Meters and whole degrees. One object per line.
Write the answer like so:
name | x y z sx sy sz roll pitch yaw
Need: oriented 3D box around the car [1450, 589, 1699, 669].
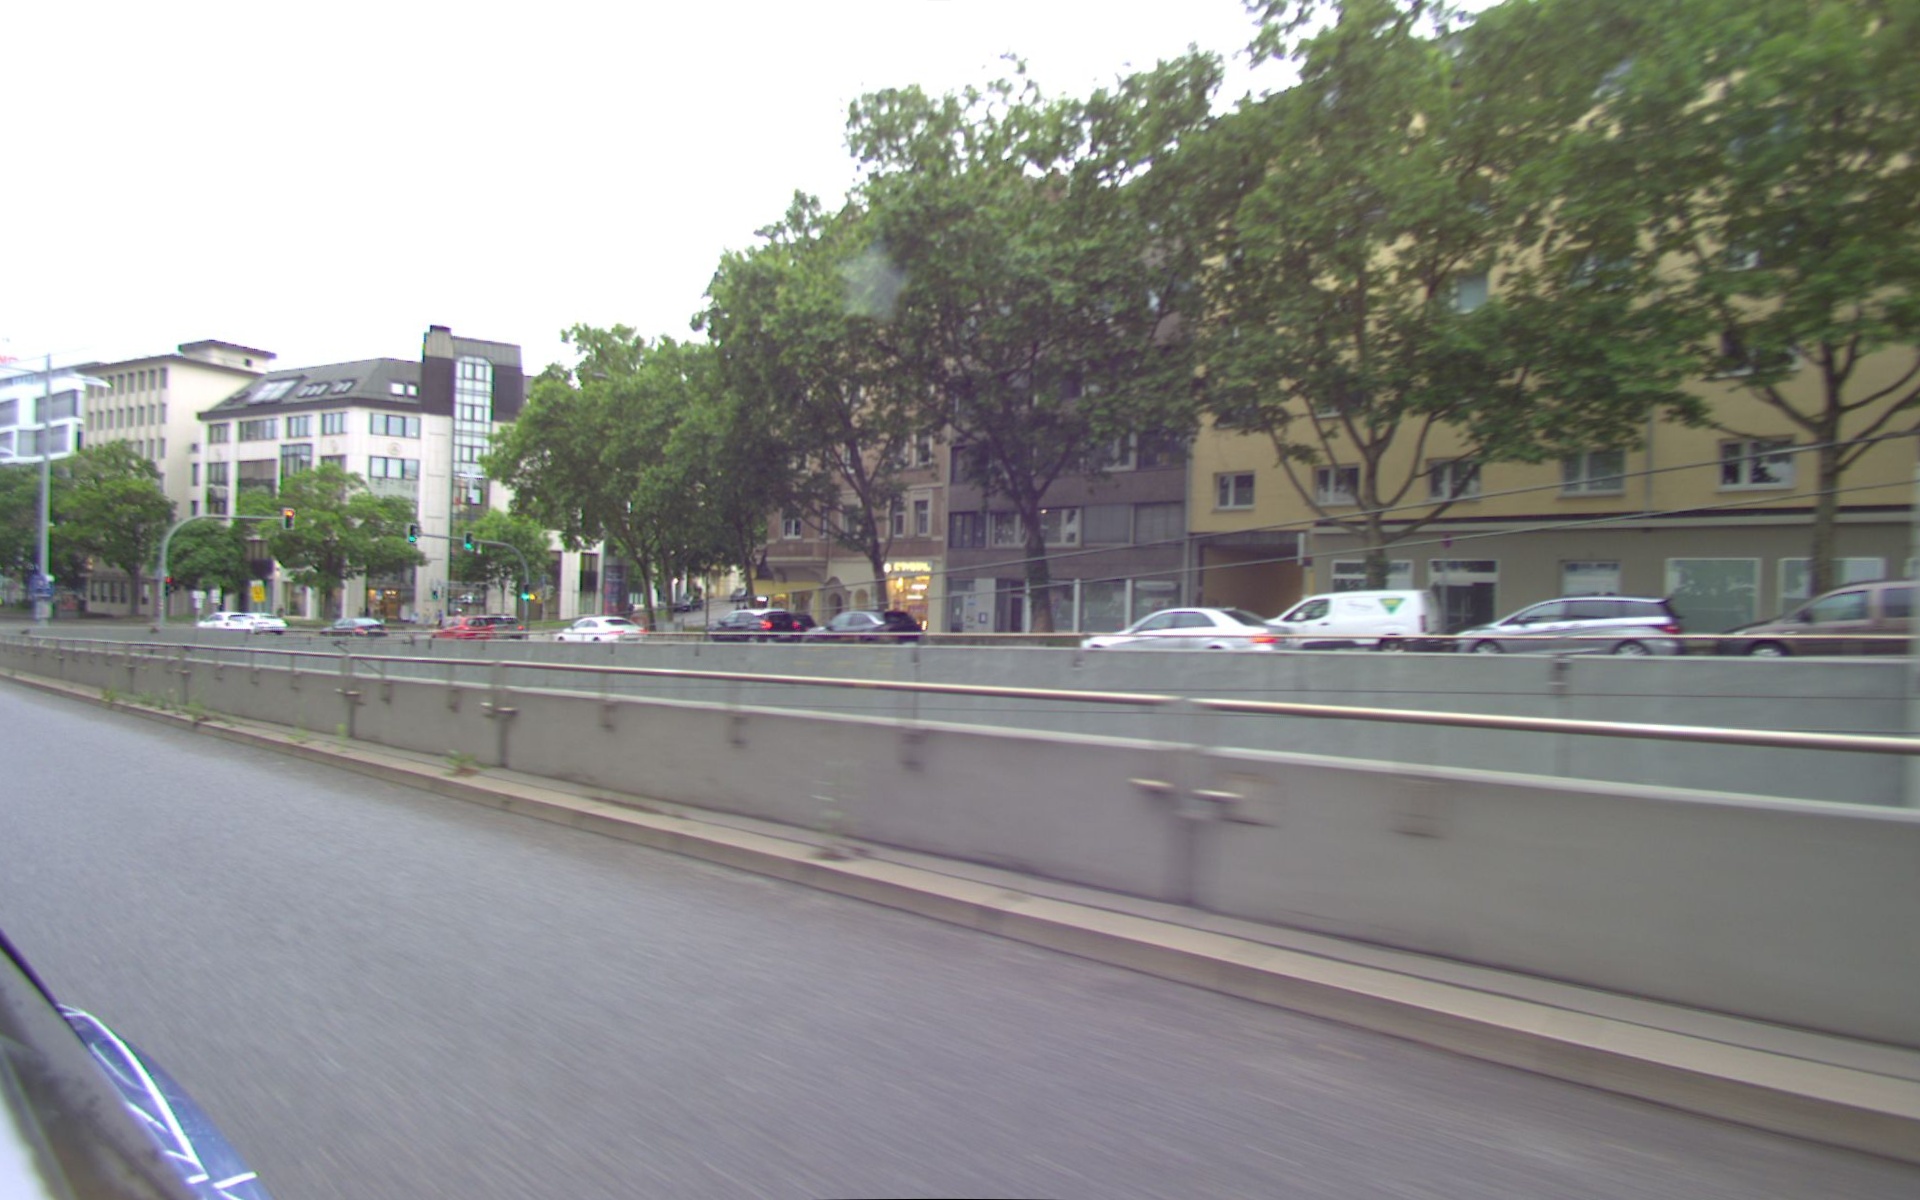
car | 13.542 0.631 22.449 4.470 1.595 1.858 -2 -1 41

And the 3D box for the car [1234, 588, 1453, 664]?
car | 9.754 0.658 25.956 4.894 1.778 1.859 -2 -1 38

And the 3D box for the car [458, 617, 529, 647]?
car | -26.013 1.766 56.361 3.931 1.521 1.780 0 0 33

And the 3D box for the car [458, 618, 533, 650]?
car | -23.239 1.668 50.572 3.995 1.522 1.777 0 -1 38

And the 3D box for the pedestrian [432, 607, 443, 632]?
pedestrian | -38.968 1.445 75.471 0.582 1.823 0.675 0 0 -44

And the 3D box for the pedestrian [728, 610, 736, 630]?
pedestrian | -20.697 1.800 91.922 0.623 1.823 0.675 0 0 -8

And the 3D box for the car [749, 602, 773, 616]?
car | -22.217 0.959 113.053 1.592 1.473 3.483 0 0 8

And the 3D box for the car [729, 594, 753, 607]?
car | -26.725 0.001 123.499 1.777 1.521 3.995 -1 0 4

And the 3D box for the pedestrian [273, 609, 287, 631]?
pedestrian | -56.312 1.623 83.798 0.614 1.798 0.826 0 0 32

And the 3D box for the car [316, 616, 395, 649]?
car | -31.415 1.655 52.557 4.825 1.569 1.778 0 -1 36

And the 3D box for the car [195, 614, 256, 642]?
car | -44.399 1.664 61.144 3.991 1.573 1.779 0 -1 35

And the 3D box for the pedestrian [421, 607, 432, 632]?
pedestrian | -39.566 1.449 75.052 0.582 1.823 0.675 0 0 -44

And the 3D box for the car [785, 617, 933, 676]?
car | -2.937 1.267 28.869 4.344 1.522 1.775 0 -1 42

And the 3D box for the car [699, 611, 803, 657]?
car | -7.841 1.258 37.772 4.015 1.592 1.775 -2 -1 42

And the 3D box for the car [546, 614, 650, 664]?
car | -14.004 1.460 39.048 4.731 1.783 1.775 0 -1 42

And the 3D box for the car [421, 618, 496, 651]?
car | -23.114 1.544 46.611 3.875 1.411 1.569 0 -1 38

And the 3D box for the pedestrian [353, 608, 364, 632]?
pedestrian | -47.156 1.558 79.368 0.524 1.798 0.598 0 0 32

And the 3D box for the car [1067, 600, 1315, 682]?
car | 4.769 0.831 21.397 4.820 1.522 1.826 -2 -1 42

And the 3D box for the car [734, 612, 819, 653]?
car | -7.564 1.311 41.394 1.674 1.562 4.070 -1 -1 -38

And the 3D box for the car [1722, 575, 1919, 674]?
car | 17.026 0.443 19.051 4.202 1.742 1.776 -2 -1 40

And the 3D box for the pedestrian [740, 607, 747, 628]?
pedestrian | -19.679 1.578 92.072 0.623 1.823 0.675 0 0 -8

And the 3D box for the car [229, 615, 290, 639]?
car | -45.110 1.709 65.162 3.985 1.522 1.781 0 -1 31
